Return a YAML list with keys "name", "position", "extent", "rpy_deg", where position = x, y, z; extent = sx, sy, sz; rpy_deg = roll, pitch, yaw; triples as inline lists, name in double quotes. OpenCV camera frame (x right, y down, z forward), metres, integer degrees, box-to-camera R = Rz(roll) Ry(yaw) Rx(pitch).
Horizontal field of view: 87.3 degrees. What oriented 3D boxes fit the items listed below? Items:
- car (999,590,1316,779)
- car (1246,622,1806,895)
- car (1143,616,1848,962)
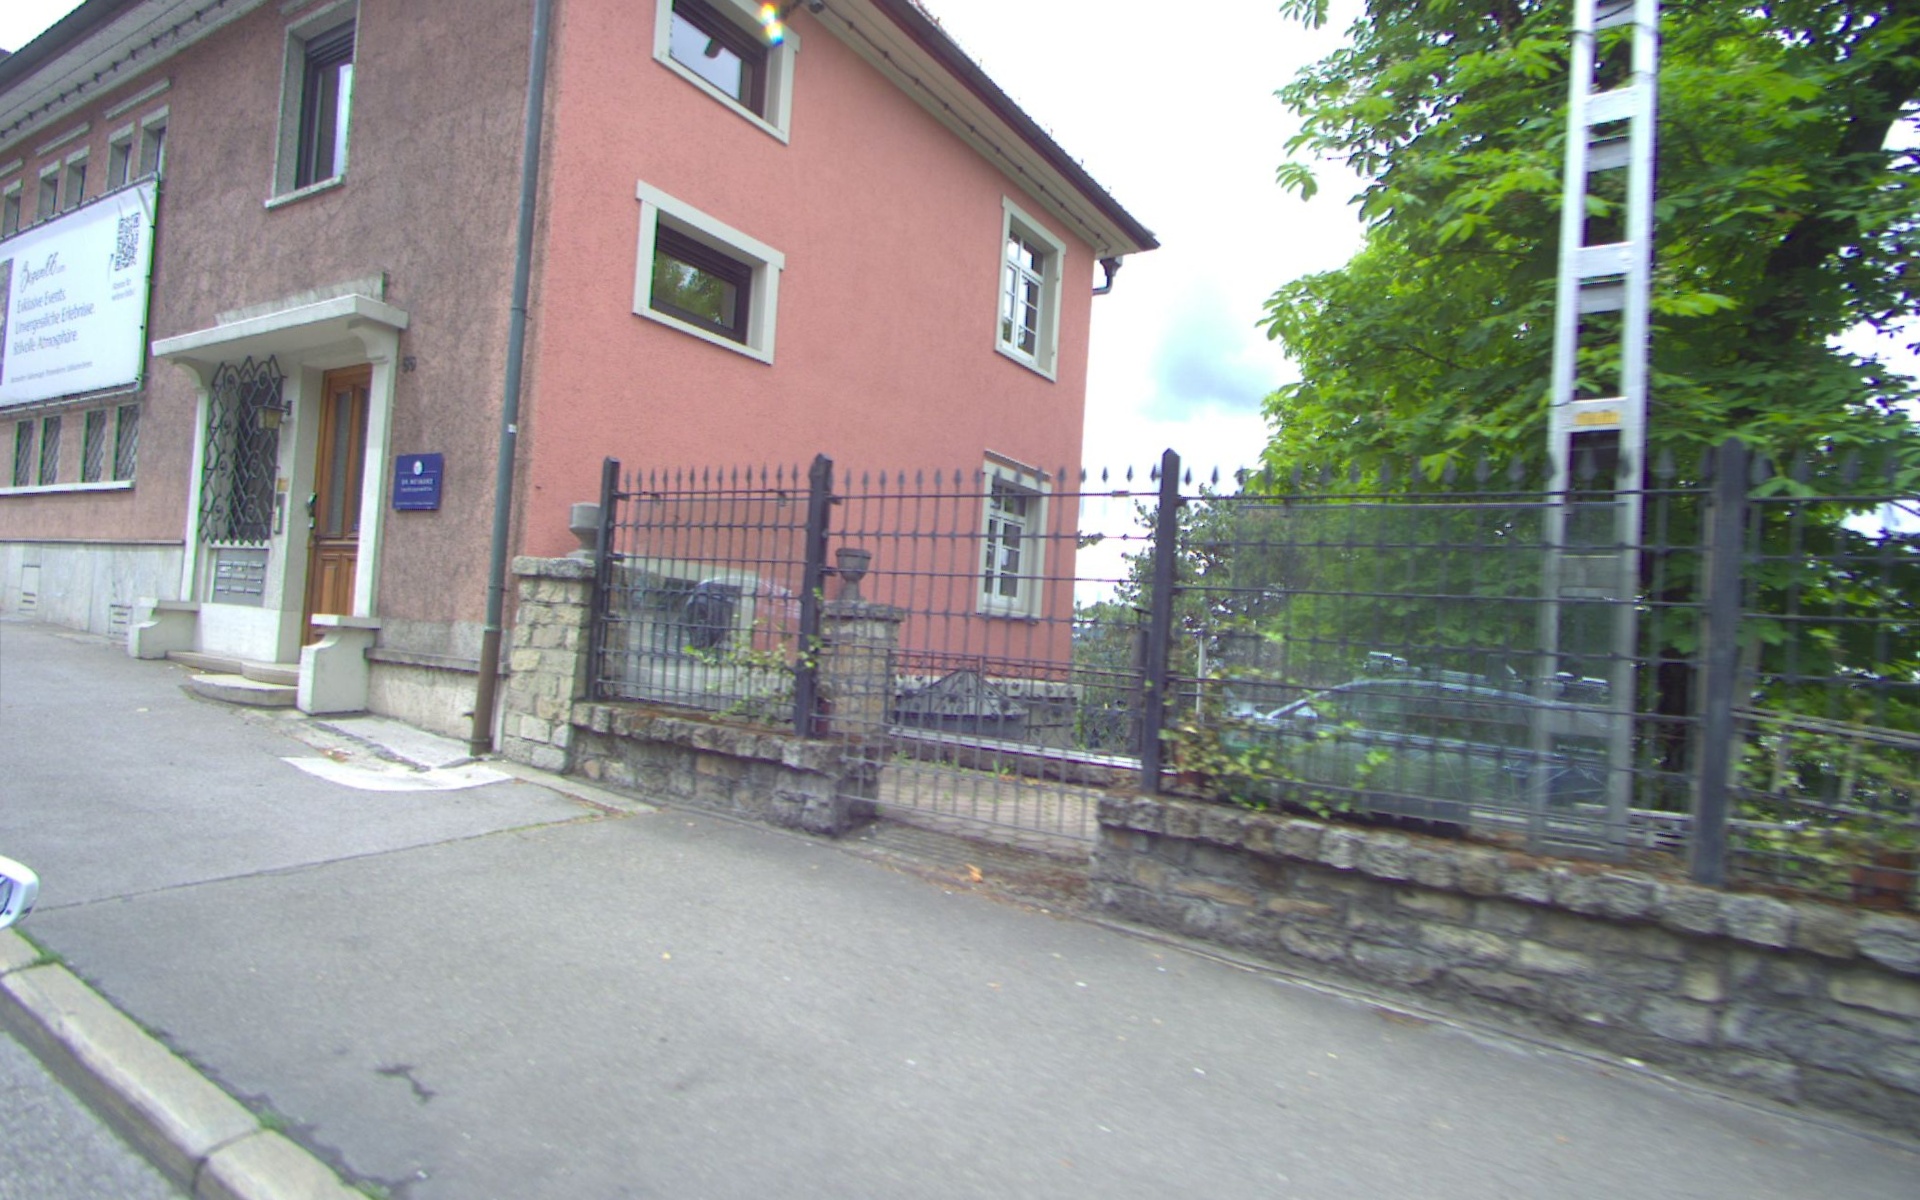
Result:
- name: "car"
  position: [2.219, 0.913, 11.477]
  extent: [3.094, 1.701, 1.438]
  rpy_deg: [5, -3, 33]
- name: "car"
  position: [4.957, 1.266, 9.234]
  extent: [3.935, 1.525, 1.996]
  rpy_deg: [8, -1, 34]
- name: "car"
  position: [3.646, 1.135, 7.398]
  extent: [3.935, 1.439, 1.996]
  rpy_deg: [8, -1, 34]
